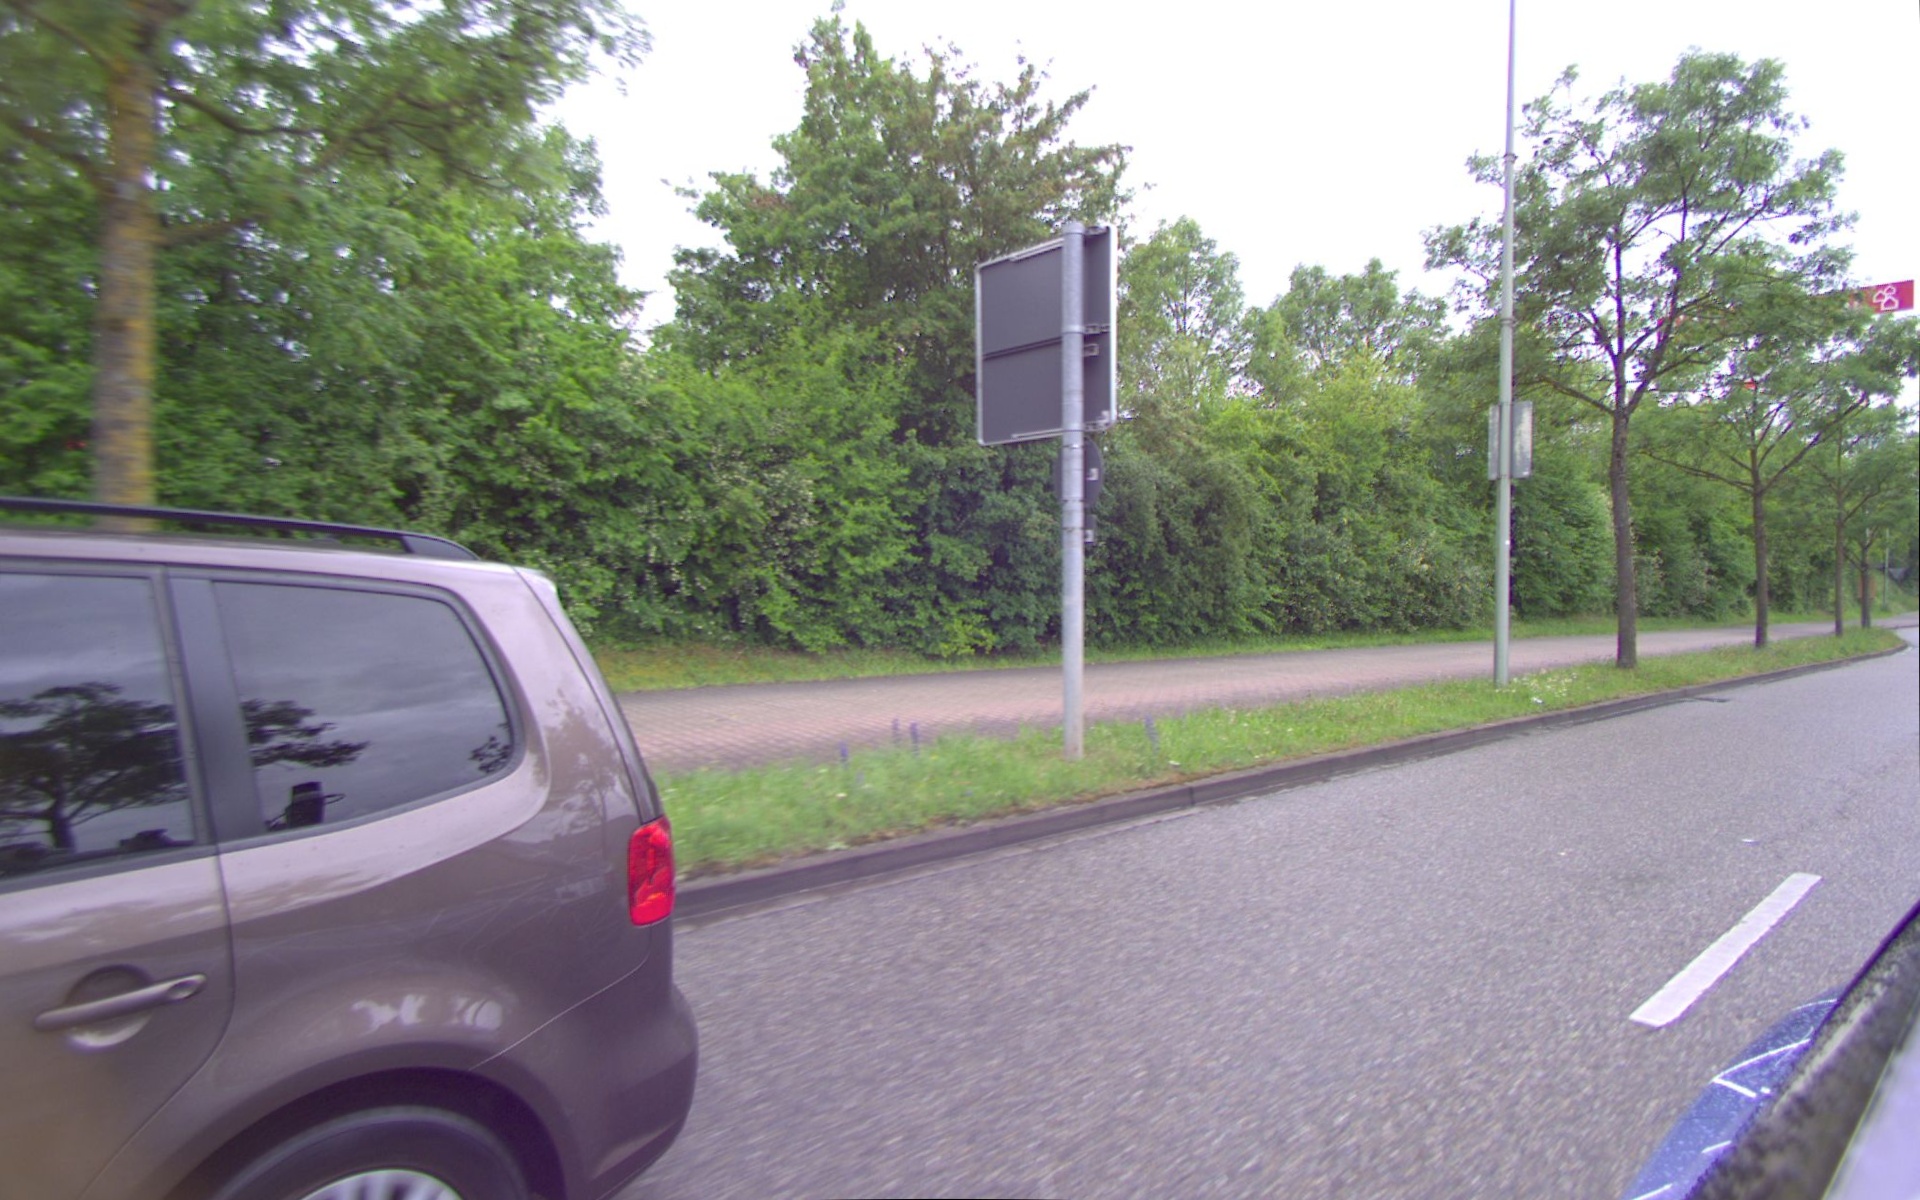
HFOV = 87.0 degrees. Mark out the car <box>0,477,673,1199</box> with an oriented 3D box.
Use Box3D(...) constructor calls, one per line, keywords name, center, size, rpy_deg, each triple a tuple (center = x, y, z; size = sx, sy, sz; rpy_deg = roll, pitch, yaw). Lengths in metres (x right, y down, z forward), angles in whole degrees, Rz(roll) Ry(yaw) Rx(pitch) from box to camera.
Box3D(name="car", center=(-2.647, 0.637, 1.298), size=(4.058, 1.617, 1.717), rpy_deg=(0, 0, -41))
